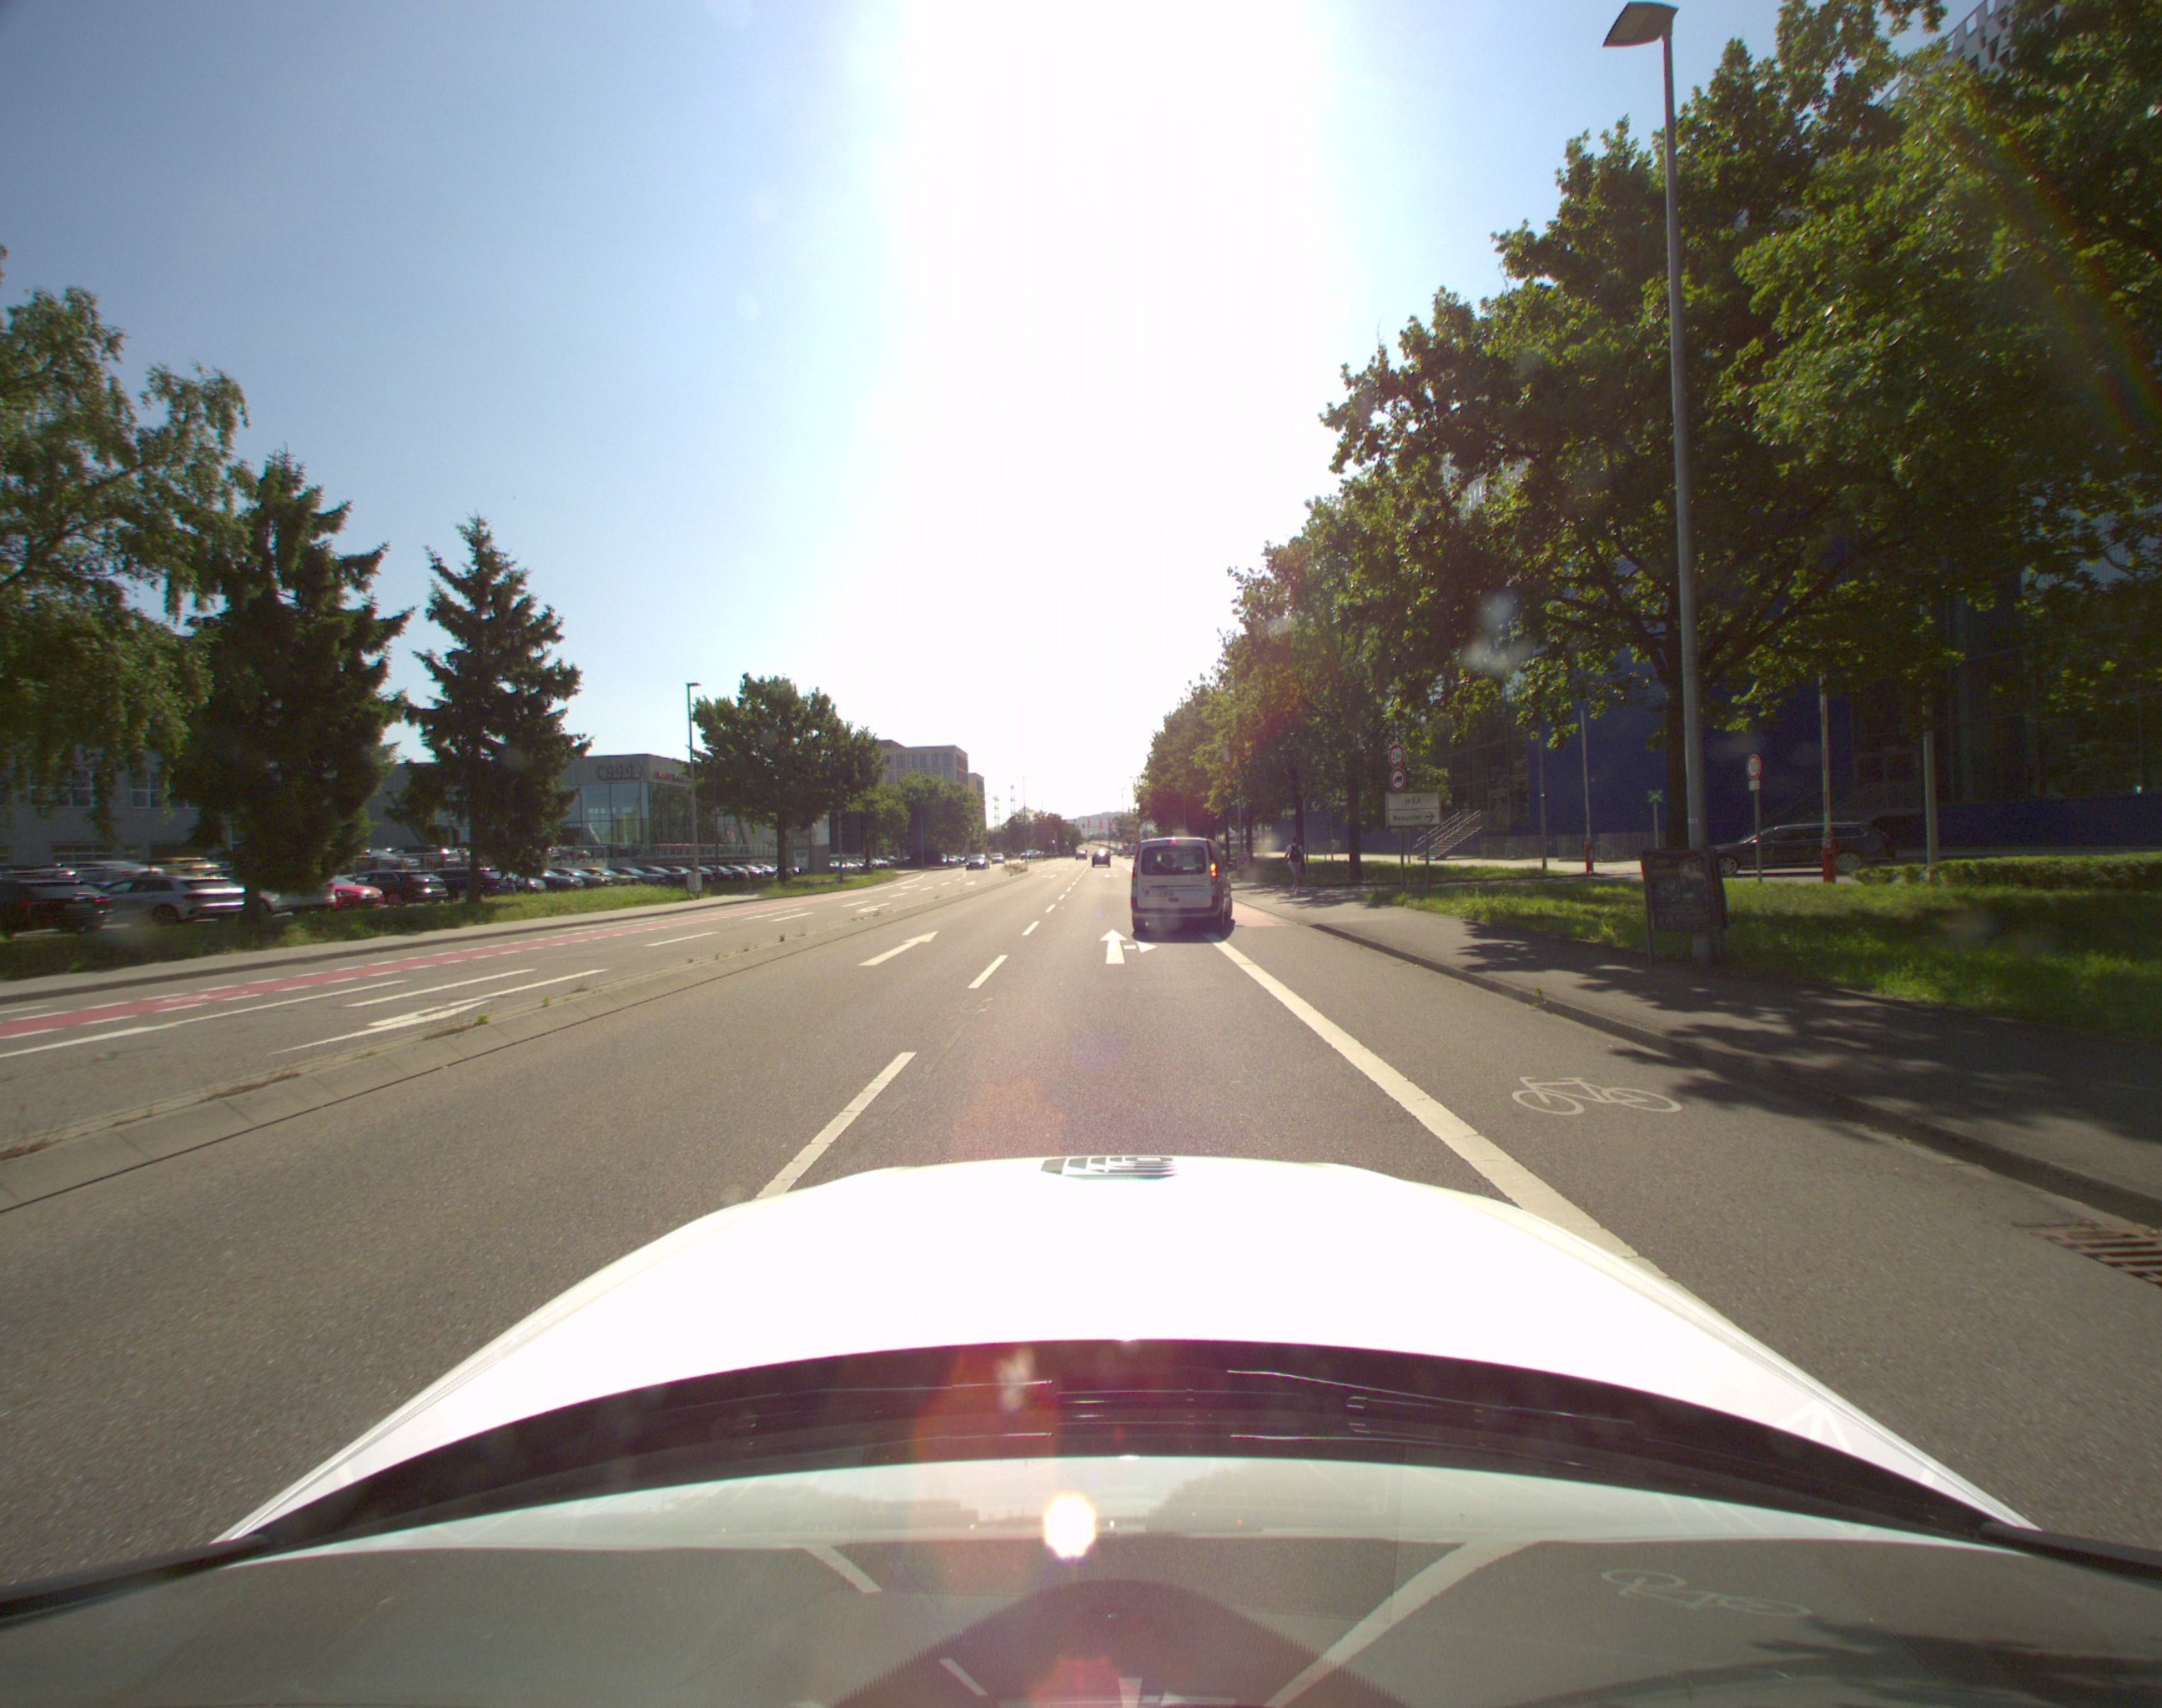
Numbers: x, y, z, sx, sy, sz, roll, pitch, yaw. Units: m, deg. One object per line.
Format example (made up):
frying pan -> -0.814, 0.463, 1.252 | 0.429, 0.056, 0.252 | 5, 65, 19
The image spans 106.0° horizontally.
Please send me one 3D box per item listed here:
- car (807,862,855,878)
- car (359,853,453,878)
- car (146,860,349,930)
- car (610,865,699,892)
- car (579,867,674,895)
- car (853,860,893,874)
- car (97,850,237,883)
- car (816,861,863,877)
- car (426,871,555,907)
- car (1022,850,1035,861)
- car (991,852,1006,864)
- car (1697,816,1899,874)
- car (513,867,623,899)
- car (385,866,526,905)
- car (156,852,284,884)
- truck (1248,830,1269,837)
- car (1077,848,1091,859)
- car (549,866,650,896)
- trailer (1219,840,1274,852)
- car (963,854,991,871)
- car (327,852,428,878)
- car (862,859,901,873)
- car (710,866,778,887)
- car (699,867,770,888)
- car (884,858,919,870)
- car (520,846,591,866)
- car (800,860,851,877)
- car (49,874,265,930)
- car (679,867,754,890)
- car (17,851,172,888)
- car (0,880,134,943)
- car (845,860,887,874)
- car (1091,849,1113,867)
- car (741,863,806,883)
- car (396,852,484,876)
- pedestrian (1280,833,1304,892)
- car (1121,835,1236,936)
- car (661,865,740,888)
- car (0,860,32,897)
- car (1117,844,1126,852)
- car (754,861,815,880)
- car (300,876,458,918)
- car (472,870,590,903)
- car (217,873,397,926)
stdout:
car -> -24.235, 1.509, 78.942 | 3.972, 1.376, 1.866 | -2, 0, 2
car -> -41.860, 0.713, 50.572 | 4.249, 1.350, 1.955 | -2, 0, 2
car -> -25.385, 1.232, 24.904 | 4.247, 1.884, 1.956 | -2, 0, 4
car -> -25.476, 1.447, 48.707 | 4.247, 1.350, 1.956 | -2, 0, 4
car -> -25.693, 1.500, 46.138 | 4.247, 1.350, 1.956 | -2, 0, 4
car -> -23.475, 1.431, 91.946 | 3.972, 1.376, 1.925 | -2, 0, 2
car -> -41.919, 0.563, 37.423 | 4.249, 1.350, 1.955 | -2, 0, 2
car -> -24.173, 1.505, 81.632 | 4.026, 1.376, 2.026 | -2, 0, 2
car -> -25.931, 1.515, 35.865 | 4.247, 1.350, 1.956 | -2, 0, 4
car -> -9.787, 0.229, 151.087 | 1.987, 1.832, 4.936 | -2, 0, 0
car -> -11.684, 0.551, 115.193 | 1.649, 1.464, 3.549 | -4, 0, -1
car -> 21.337, -0.233, 24.515 | 4.317, 1.520, 1.924 | -2, 0, 34
car -> -25.715, 1.451, 40.911 | 4.247, 1.350, 1.956 | -2, 0, 4
car -> -25.455, 1.258, 33.239 | 4.247, 1.381, 1.956 | -2, 0, 4
car -> -42.070, 0.658, 39.860 | 4.249, 1.350, 1.955 | -2, 0, 2
truck -> 52.210, -6.007, 239.670 | 5.883, 2.013, 2.002 | 0, 1, 4
car -> 0.536, -0.117, 135.376 | 1.985, 1.684, 4.003 | -2, 0, 3
car -> -25.741, 1.428, 43.610 | 4.247, 1.350, 1.956 | -2, 0, 4
trailer -> 36.193, -1.746, 178.602 | 11.808, 2.469, 2.004 | 0, 1, 6
car -> -10.030, 0.807, 78.880 | 1.834, 1.463, 5.003 | -4, 0, 2
car -> -41.399, 0.612, 47.975 | 4.249, 1.350, 1.955 | -2, 0, 2
car -> -23.114, 1.386, 94.626 | 3.972, 1.376, 1.925 | -2, 0, 2
car -> -25.488, 1.701, 61.676 | 4.247, 1.350, 1.956 | -2, 0, 4
car -> -25.182, 1.699, 59.264 | 4.247, 1.350, 1.956 | -2, 0, 4
car -> -23.026, 1.237, 104.656 | 3.972, 1.376, 1.925 | -2, 0, 2
car -> -41.132, 0.147, 63.782 | 4.249, 1.350, 1.955 | -2, 0, 2
car -> -23.604, 1.330, 75.286 | 3.972, 1.376, 2.001 | -2, 0, 2
car -> -25.256, 1.285, 22.337 | 4.069, 1.293, 1.746 | -2, 0, 4
car -> -25.343, 1.692, 56.739 | 4.247, 1.350, 1.956 | -2, 0, 4
car -> -41.666, 0.632, 34.468 | 4.249, 1.350, 1.955 | -2, 0, 2
car -> -25.745, 1.400, 19.679 | 4.065, 1.354, 1.747 | -2, -1, 7
car -> -23.588, 1.450, 89.546 | 3.972, 1.376, 1.925 | -2, 0, 2
car -> 2.146, 0.342, 80.859 | 1.798, 1.640, 4.465 | -2, 0, 5
car -> -24.084, 1.475, 63.864 | 4.247, 1.350, 1.956 | -2, 0, 4
car -> -41.850, 0.634, 53.230 | 4.249, 1.350, 1.955 | -2, 0, 2
pedestrian -> 6.798, 0.271, 26.271 | 0.533, 1.841, 0.728 | -2, 0, 2
car -> 2.179, 0.573, 17.127 | 1.892, 1.829, 4.195 | -2, 0, 13
car -> -25.263, 1.487, 54.149 | 4.247, 1.350, 1.956 | -2, 0, 4
car -> -41.645, 0.979, 29.732 | 4.249, 1.350, 1.955 | -2, 0, 2
car -> 8.411, -1.269, 170.231 | 1.752, 1.758, 3.602 | 0, 1, -1
car -> -24.203, 1.349, 66.572 | 4.247, 1.350, 1.956 | -2, 0, 4
car -> -26.103, 1.584, 30.371 | 4.247, 1.328, 1.956 | -2, 0, 4
car -> -25.891, 1.512, 38.440 | 4.247, 1.350, 1.956 | -2, 0, 4
car -> -25.928, 1.503, 27.373 | 4.247, 1.504, 1.956 | -2, 0, 4
